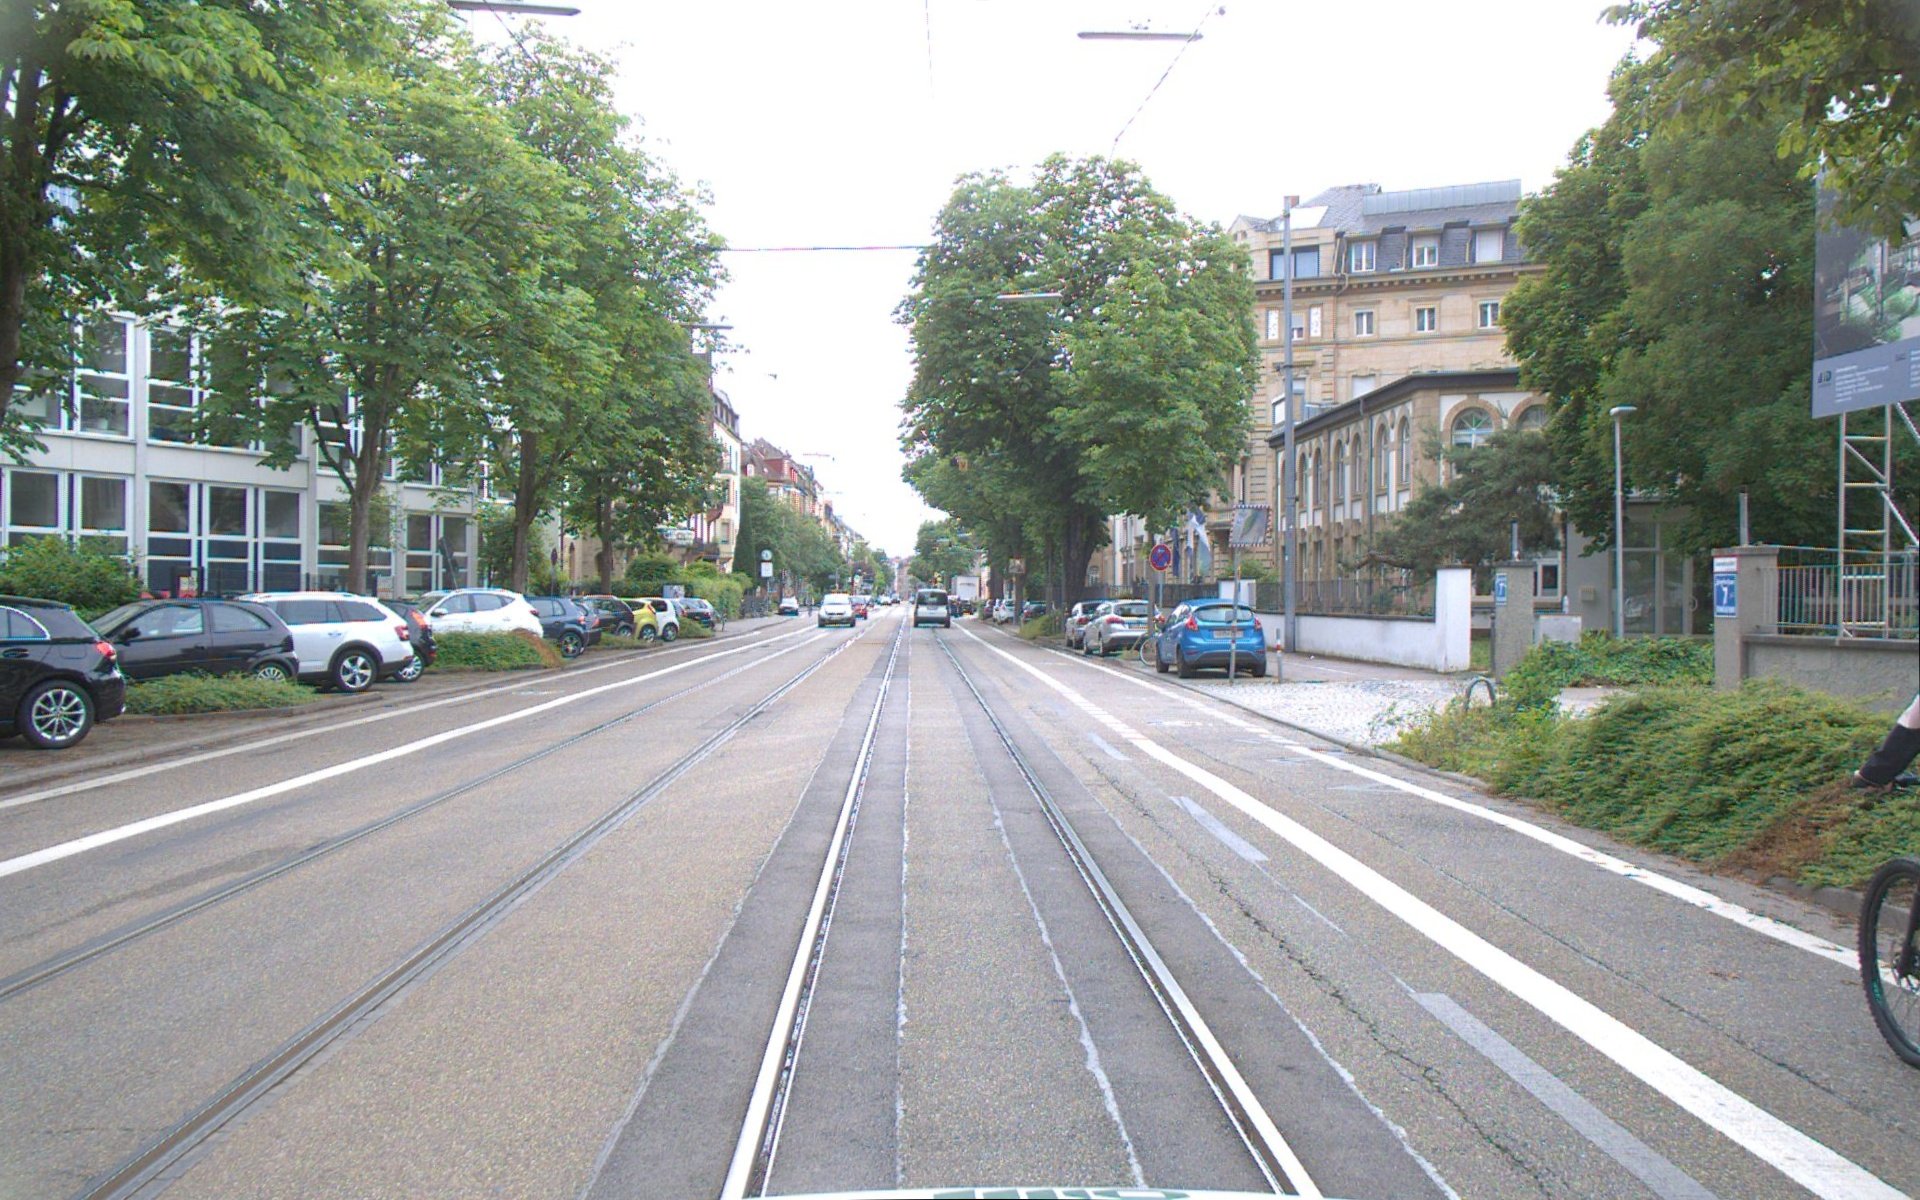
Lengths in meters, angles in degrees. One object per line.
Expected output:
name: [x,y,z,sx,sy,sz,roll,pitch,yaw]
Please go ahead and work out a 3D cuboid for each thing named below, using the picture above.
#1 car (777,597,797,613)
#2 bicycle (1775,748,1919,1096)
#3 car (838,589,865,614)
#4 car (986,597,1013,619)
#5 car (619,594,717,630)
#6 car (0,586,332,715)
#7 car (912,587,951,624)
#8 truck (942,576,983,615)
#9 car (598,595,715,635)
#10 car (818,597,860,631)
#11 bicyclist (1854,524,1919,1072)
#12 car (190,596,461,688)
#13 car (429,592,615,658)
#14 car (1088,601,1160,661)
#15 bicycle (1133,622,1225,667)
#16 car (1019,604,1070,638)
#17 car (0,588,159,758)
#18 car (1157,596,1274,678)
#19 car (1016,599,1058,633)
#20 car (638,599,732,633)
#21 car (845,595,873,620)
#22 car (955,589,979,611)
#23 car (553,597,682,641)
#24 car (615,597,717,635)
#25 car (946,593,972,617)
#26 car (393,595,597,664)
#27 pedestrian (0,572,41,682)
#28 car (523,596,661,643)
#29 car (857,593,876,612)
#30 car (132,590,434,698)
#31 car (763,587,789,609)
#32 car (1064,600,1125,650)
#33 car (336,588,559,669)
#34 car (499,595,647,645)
car: [-14.854,0.445,141.828,1.609,1.378,3.873,0,0,-5]
bicycle: [3.222,1.044,5.005,0.479,0.997,2.057,1,0,0]
car: [-10.635,0.148,162.349,2.159,2.460,4.001,0,0,2]
car: [2.681,0.526,113.084,1.733,1.423,3.795,0,0,1]
car: [-12.013,0.487,68.039,3.662,1.410,1.686,1,0,-26]
car: [-10.508,0.632,21.981,1.671,1.550,3.680,1,0,44]
car: [-1.379,0.286,80.772,1.774,1.738,3.699,1,-1,1]
truck: [0.217,-0.488,181.744,3.733,4.100,10.209,0,0,-4]
car: [-10.913,0.560,59.643,1.670,1.375,3.943,1,0,43]
car: [-5.878,0.662,80.734,1.862,1.557,3.753,-1,0,-2]
bicyclist: [3.190,0.592,4.846,0.644,1.639,0.920,0,0,0]
car: [-10.750,0.700,28.169,3.990,1.430,1.676,1,0,-40]
car: [-10.968,0.626,41.650,1.670,1.562,4.319,1,0,43]
car: [4.344,0.795,44.279,1.446,1.507,3.564,1,0,-2]
bicycle: [4.913,0.986,37.139,1.973,0.974,0.533,0,0,-6]
car: [3.334,0.809,65.825,1.835,1.273,4.000,0,0,1]
car: [-9.700,0.653,15.398,1.671,1.550,3.680,1,0,44]
car: [4.922,0.681,32.244,1.640,1.486,3.431,1,0,-2]
car: [3.393,0.690,73.523,1.754,1.423,3.795,0,0,1]
car: [-11.856,0.690,71.229,3.662,1.410,1.686,1,0,-26]
car: [-6.456,0.482,106.099,1.642,1.549,2.781,1,-1,-1]
car: [0.658,-0.025,152.640,1.954,2.049,3.997,0,0,-3]
car: [-11.235,0.634,54.459,1.670,1.375,3.943,1,0,43]
car: [-11.575,0.647,65.168,3.662,1.410,1.686,1,0,-26]
car: [-0.099,0.354,129.672,1.953,1.825,4.000,0,0,0]
car: [-10.717,0.666,38.341,1.670,1.479,4.319,1,0,43]
pedestrian: [-14.550,0.410,25.050,0.737,1.640,0.734,1,-2,22]
car: [-11.373,0.608,51.336,1.670,1.375,3.943,1,0,43]
car: [-11.665,0.311,206.439,2.160,2.295,3.999,0,0,-2]
car: [-10.360,0.654,25.445,3.990,1.510,1.676,1,0,-40]
car: [-18.546,-0.200,167.049,2.133,2.246,4.218,0,0,-1]
car: [4.147,0.743,51.385,1.446,1.454,3.564,1,0,-2]
car: [-10.811,0.588,35.114,1.668,1.583,4.325,1,0,39]
car: [-11.221,0.585,48.117,1.670,1.375,3.943,1,0,43]
